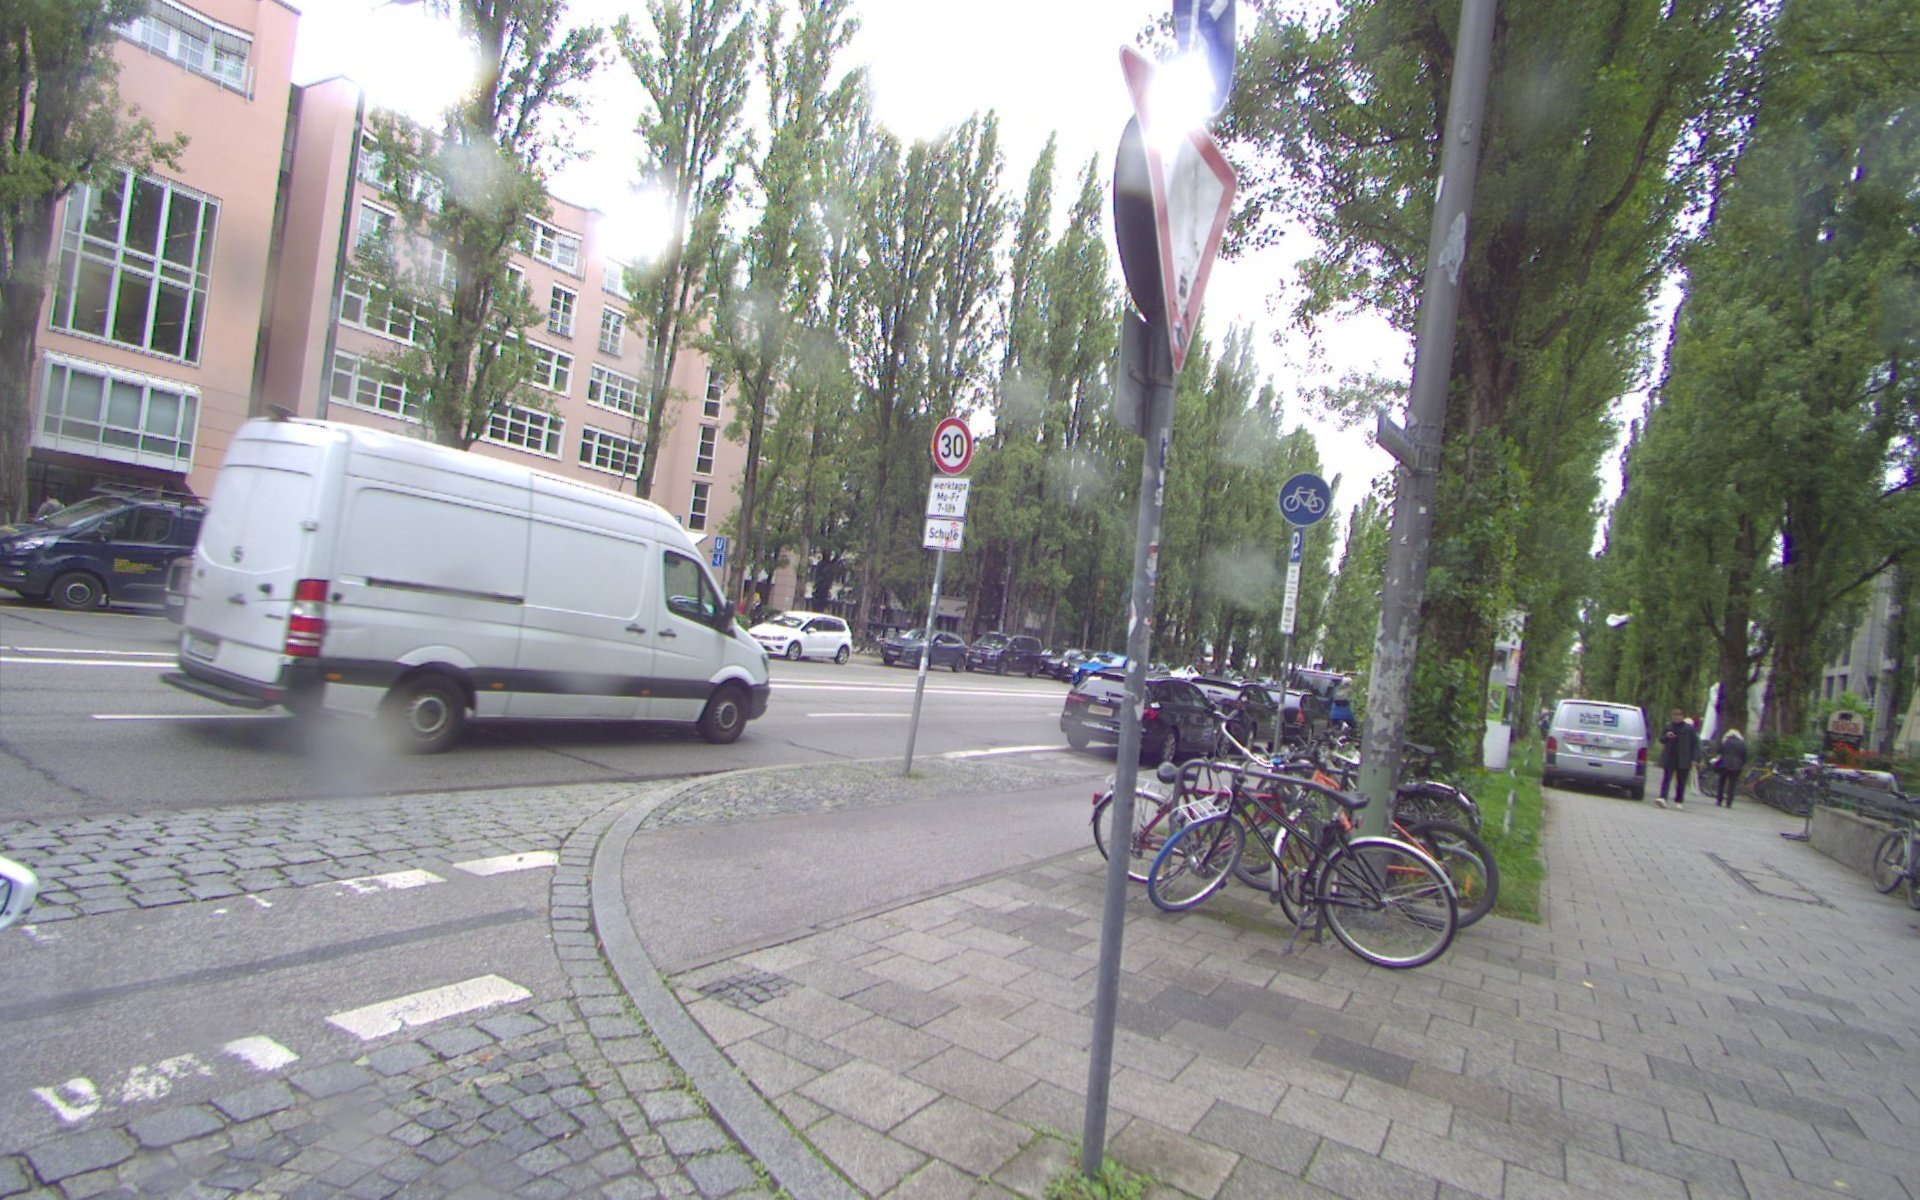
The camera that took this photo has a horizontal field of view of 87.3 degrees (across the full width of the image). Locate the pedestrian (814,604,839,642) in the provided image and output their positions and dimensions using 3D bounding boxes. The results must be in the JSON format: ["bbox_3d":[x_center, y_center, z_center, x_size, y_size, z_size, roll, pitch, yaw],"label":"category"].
[{"bbox_3d":[-6.563,1.112,49.326,0.697,1.734,0.730,7,0,32],"label":"pedestrian"}]

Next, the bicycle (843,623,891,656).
[{"bbox_3d":[-4.024,1.705,43.570,1.956,1.138,0.675,7,0,32],"label":"bicycle"}]

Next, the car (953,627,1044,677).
[{"bbox_3d":[1.804,2.393,45.506,1.966,1.818,4.756,7,-1,30],"label":"car"}]

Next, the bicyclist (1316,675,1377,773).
[{"bbox_3d":[7.071,2.256,18.412,0.712,1.638,0.755,8,0,33],"label":"bicyclist"}]

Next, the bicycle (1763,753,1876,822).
[{"bbox_3d":[20.085,4.368,23.558,1.838,1.174,0.586,8,1,33],"label":"bicycle"}]

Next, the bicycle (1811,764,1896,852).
[{"bbox_3d":[14.644,3.382,16.541,0.578,1.173,1.982,7,-1,31],"label":"bicycle"}]

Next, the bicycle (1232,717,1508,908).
[{"bbox_3d":[3.263,1.643,8.098,1.898,1.118,0.512,6,-1,31],"label":"bicycle"}]

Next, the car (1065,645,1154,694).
[{"bbox_3d":[6.055,2.805,40.226,1.841,1.597,4.416,5,-2,31],"label":"car"}]

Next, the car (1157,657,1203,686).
[{"bbox_3d":[14.680,4.776,66.970,1.737,1.598,3.965,7,0,30],"label":"car"}]

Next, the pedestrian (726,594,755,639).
[{"bbox_3d":[-9.096,0.680,41.701,0.697,1.734,0.730,7,0,32],"label":"pedestrian"}]

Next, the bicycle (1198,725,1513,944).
[{"bbox_3d":[2.649,1.521,6.853,1.846,1.063,0.475,6,-1,32],"label":"bicycle"}]

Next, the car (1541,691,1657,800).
[{"bbox_3d":[14.265,3.177,22.608,1.785,1.918,5.196,7,-2,32],"label":"car"}]

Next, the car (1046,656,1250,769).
[{"bbox_3d":[3.406,1.954,17.521,1.728,1.444,4.439,9,-1,34],"label":"car"}]

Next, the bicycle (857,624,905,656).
[{"bbox_3d":[-3.478,1.745,44.388,1.956,1.138,0.675,7,0,32],"label":"bicycle"}]

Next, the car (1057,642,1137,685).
[{"bbox_3d":[6.505,3.029,47.271,1.967,1.662,4.544,6,-2,31],"label":"car"}]

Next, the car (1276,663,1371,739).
[{"bbox_3d":[11.659,3.199,32.022,1.884,1.947,5.035,9,-1,29],"label":"car"}]

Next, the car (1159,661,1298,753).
[{"bbox_3d":[5.923,2.320,21.875,1.719,1.545,3.902,9,-1,32],"label":"car"}]

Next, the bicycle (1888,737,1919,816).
[{"bbox_3d":[15.497,2.842,16.026,0.578,1.173,1.866,7,-1,31],"label":"bicycle"}]

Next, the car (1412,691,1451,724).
[{"bbox_3d":[28.789,6.533,61.322,1.718,1.662,3.948,9,-1,29],"label":"car"}]

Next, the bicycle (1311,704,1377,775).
[{"bbox_3d":[7.099,2.558,18.548,0.707,1.160,1.898,4,-4,32],"label":"bicycle"}]

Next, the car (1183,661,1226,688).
[{"bbox_3d":[17.516,5.355,71.957,1.737,1.597,3.967,7,-1,30],"label":"car"}]

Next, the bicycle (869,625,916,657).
[{"bbox_3d":[-3.023,1.823,45.082,1.956,1.138,0.675,7,0,32],"label":"bicycle"}]

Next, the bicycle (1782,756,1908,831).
[{"bbox_3d":[18.797,4.095,21.424,1.839,1.173,0.586,7,-1,33],"label":"bicycle"}]

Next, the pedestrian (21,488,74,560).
[{"bbox_3d":[-23.867,-1.986,26.317,0.720,1.734,0.708,7,0,34],"label":"pedestrian"}]

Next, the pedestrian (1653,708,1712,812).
[{"bbox_3d":[13.990,3.083,19.497,0.689,1.863,0.705,7,0,33],"label":"pedestrian"}]

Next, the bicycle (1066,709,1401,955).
[{"bbox_3d":[1.658,1.366,6.286,1.845,1.063,0.475,8,0,32],"label":"bicycle"}]

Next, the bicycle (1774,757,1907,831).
[{"bbox_3d":[19.166,4.201,21.956,1.999,1.173,0.586,7,-1,33],"label":"bicycle"}]

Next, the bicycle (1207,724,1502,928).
[{"bbox_3d":[2.828,1.573,7.318,1.846,1.063,0.475,6,-1,32],"label":"bicycle"}]

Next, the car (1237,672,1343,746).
[{"bbox_3d":[8.958,2.917,27.100,1.719,1.544,4.230,9,-1,30],"label":"car"}]

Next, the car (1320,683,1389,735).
[{"bbox_3d":[14.648,4.026,37.232,1.718,1.545,3.948,9,-1,29],"label":"car"}]

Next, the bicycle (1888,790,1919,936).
[{"bbox_3d":[8.969,2.402,9.184,0.580,1.173,1.861,7,-1,42],"label":"bicycle"}]

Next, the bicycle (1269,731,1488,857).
[{"bbox_3d":[3.962,1.810,9.617,1.805,0.827,0.470,6,-1,36],"label":"bicycle"}]

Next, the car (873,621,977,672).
[{"bbox_3d":[-1.314,1.873,39.921,1.967,1.560,4.318,7,-1,31],"label":"car"}]

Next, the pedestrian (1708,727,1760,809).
[{"bbox_3d":[16.671,3.604,21.694,0.687,1.625,0.831,7,-1,35],"label":"pedestrian"}]

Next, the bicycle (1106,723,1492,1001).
[{"bbox_3d":[1.819,1.361,5.551,1.843,1.063,0.475,7,0,25],"label":"bicycle"}]

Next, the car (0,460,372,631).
[{"bbox_3d":[-13.981,-0.853,18.027,1.990,2.223,5.490,7,-1,31],"label":"car"}]

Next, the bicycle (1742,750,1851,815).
[{"bbox_3d":[20.139,4.385,24.263,1.839,1.173,0.587,7,0,33],"label":"bicycle"}]

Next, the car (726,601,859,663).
[{"bbox_3d":[-5.383,1.089,32.942,1.965,1.560,4.322,7,-1,27],"label":"car"}]

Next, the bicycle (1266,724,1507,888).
[{"bbox_3d":[3.743,1.765,8.920,1.805,1.050,0.512,6,-1,36],"label":"bicycle"}]

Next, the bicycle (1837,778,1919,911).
[{"bbox_3d":[10.296,2.634,10.837,0.577,1.173,1.870,7,-1,22],"label":"bicycle"}]

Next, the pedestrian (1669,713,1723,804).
[{"bbox_3d":[16.143,3.459,22.077,0.738,1.824,0.841,7,0,35],"label":"pedestrian"}]

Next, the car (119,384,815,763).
[{"bbox_3d":[-4.329,-0.040,10.288,2.012,2.684,6.033,9,0,30],"label":"car"}]
